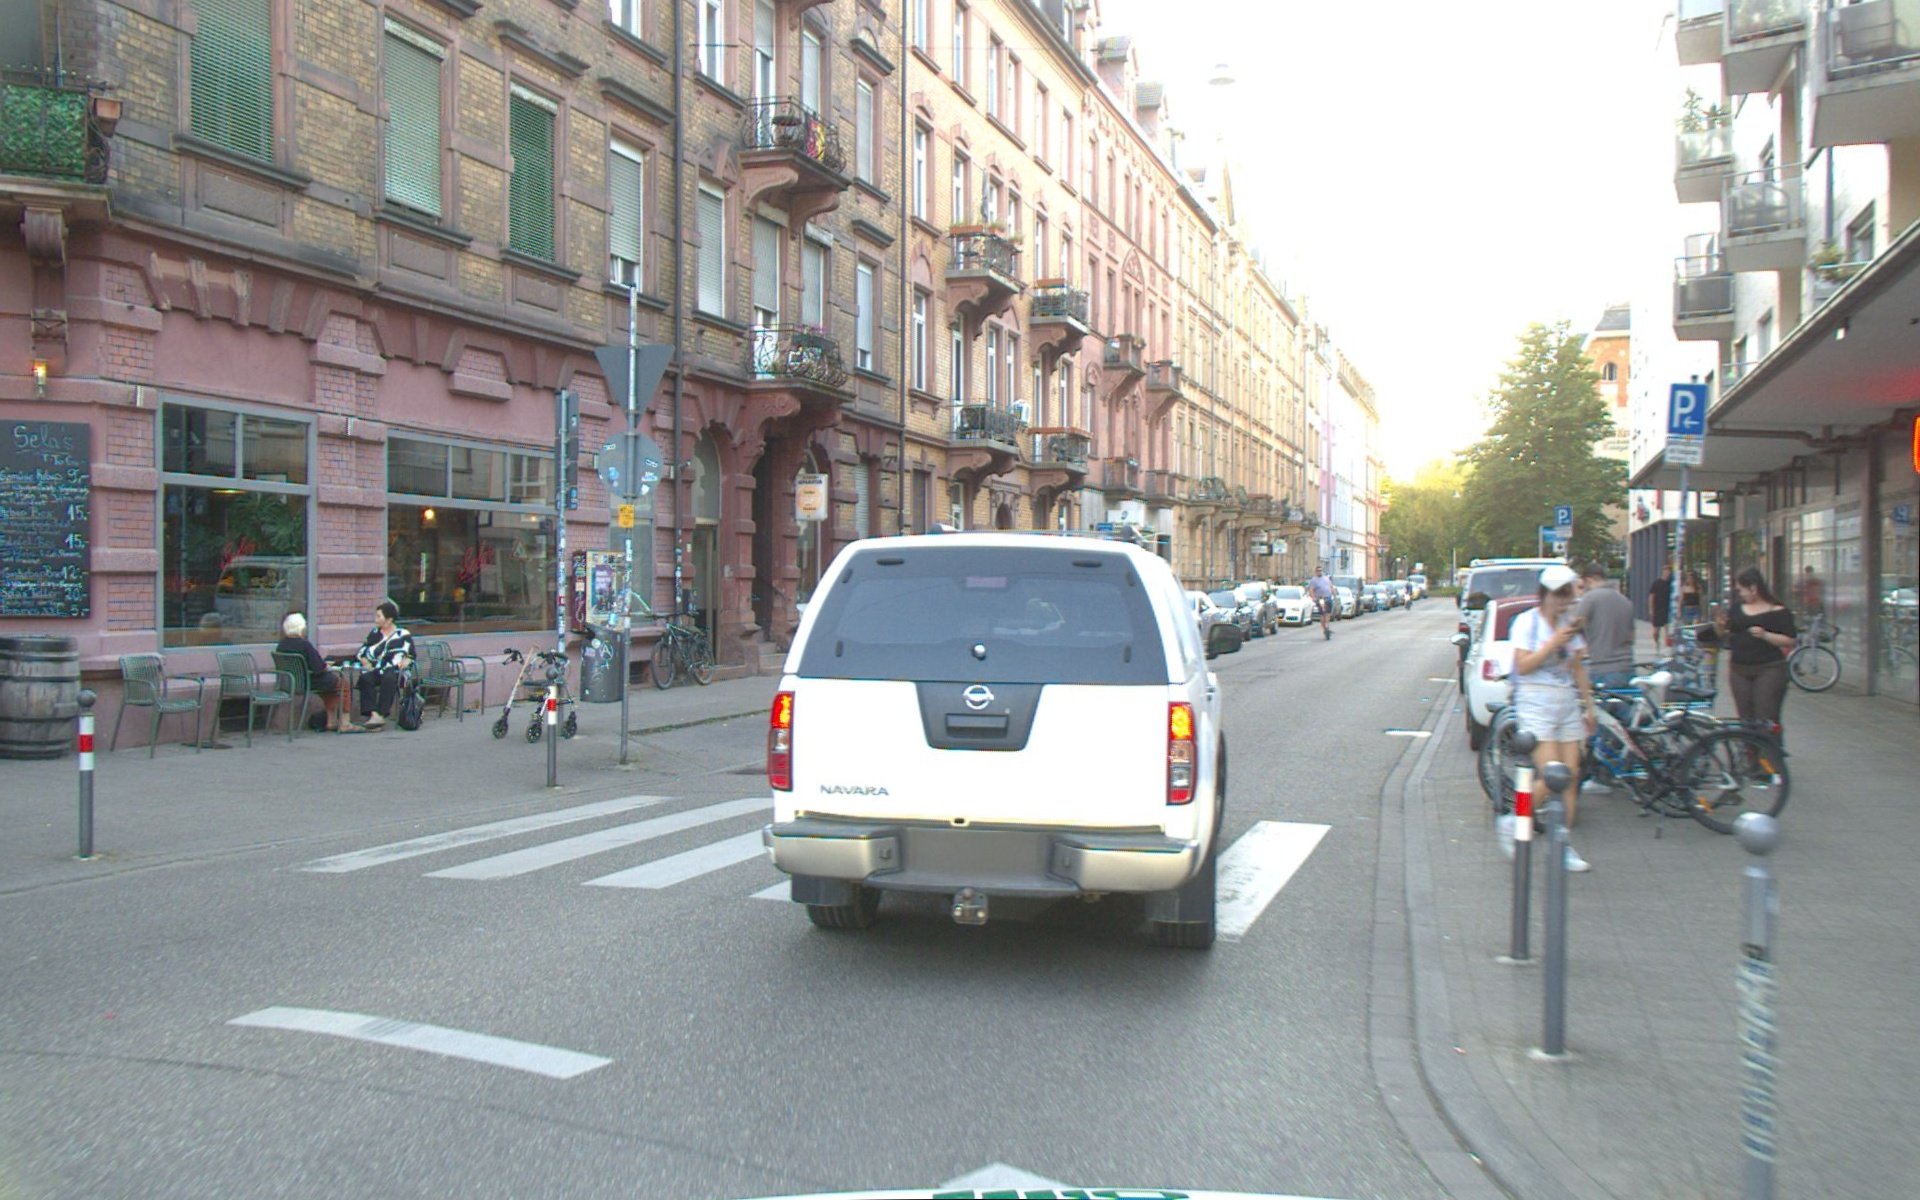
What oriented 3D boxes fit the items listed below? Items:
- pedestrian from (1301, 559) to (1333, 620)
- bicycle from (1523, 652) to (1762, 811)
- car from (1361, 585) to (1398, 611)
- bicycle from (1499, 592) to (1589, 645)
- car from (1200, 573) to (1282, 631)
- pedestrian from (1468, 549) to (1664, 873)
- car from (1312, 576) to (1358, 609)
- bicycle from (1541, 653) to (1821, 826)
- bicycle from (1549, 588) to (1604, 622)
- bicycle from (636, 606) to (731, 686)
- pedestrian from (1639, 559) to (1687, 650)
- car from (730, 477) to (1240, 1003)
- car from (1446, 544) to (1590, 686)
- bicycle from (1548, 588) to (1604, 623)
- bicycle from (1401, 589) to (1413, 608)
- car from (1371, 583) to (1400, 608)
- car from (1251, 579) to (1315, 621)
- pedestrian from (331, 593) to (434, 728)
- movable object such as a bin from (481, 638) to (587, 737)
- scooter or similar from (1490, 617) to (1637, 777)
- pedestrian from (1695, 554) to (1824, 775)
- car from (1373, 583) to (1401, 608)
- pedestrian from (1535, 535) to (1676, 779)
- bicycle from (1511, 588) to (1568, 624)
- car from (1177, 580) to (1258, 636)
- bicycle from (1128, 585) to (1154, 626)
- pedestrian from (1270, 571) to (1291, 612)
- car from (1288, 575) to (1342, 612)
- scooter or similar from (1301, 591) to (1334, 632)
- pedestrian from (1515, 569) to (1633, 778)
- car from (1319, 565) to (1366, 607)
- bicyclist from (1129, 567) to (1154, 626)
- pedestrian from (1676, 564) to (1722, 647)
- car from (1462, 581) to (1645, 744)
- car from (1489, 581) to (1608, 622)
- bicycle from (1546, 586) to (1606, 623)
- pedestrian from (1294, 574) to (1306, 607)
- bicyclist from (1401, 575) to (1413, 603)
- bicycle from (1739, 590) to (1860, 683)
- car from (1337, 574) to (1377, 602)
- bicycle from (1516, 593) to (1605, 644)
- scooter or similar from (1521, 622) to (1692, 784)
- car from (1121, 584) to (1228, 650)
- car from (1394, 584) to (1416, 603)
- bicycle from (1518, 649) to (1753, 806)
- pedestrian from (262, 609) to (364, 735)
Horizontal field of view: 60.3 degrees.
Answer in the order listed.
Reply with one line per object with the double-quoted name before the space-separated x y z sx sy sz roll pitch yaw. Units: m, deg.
"pedestrian" 10.062 -0.305 46.577 0.790 1.689 0.673 -1 0 19
"bicycle" 4.491 0.864 10.961 1.387 1.001 0.511 -2 -1 16
"car" 25.270 -0.128 99.520 1.796 1.483 4.208 3 1 19
"bicycle" 13.313 0.430 37.750 0.649 1.154 1.922 -1 -1 -34
"car" 8.714 0.012 50.980 1.814 1.662 4.448 1 1 18
"pedestrian" 3.352 0.588 9.213 0.649 1.680 0.882 -3 0 -5
"car" 17.494 -0.356 77.025 1.746 1.447 4.488 2 1 17
"bicycle" 4.448 0.859 10.297 1.514 1.019 0.511 -2 -1 16
"bicycle" 20.474 0.177 54.939 1.687 1.072 0.653 -2 -1 22
"bicycle" -3.927 0.633 23.625 0.417 1.071 1.898 1 1 22
"pedestrian" 14.724 0.095 34.633 0.697 1.860 0.857 -2 -1 37
"car" 0.508 0.476 8.722 1.870 1.885 5.275 1 1 10
"car" 8.883 0.194 26.356 1.918 2.008 5.004 -2 0 19
"bicycle" 20.229 0.184 54.313 1.687 1.072 0.653 -2 -1 22
"bicycle" 26.732 -0.123 98.901 0.631 1.100 2.170 -2 0 15
"car" 27.974 -0.297 108.764 1.601 1.592 3.783 1 1 17
"car" 11.891 -0.022 60.637 1.721 1.436 4.511 1 1 18
"pedestrian" -5.862 0.599 16.829 0.634 1.276 0.909 3 2 3
"movable object such as a bin" -4.207 0.853 16.369 0.745 0.932 0.730 1 0 15
"scooter or similar" 4.945 0.770 13.550 1.149 1.191 0.531 -3 2 -32
"pedestrian" 6.247 0.486 12.929 0.558 1.660 0.715 -2 1 -42
"car" 29.544 -0.330 114.279 1.805 1.688 4.256 0 0 16
"pedestrian" 4.893 0.417 12.565 0.722 1.787 0.662 -1 0 -9
"bicycle" 18.954 0.199 54.118 1.687 1.137 0.707 -2 -1 22
"car" 7.157 0.179 45.709 1.552 1.445 3.698 1 1 19
"bicycle" 5.481 0.174 50.102 0.693 1.217 1.742 1 0 3
"pedestrian" 14.195 -0.362 73.263 0.545 1.786 1.018 1 -1 36
"car" 14.982 -0.287 69.711 1.681 1.483 4.001 2 1 20
"scooter or similar" 10.070 0.325 46.581 0.790 1.123 1.172 -1 1 19
"pedestrian" 4.956 0.578 13.370 0.636 1.628 0.588 -1 0 -22
"car" 18.984 -0.712 82.043 1.951 1.957 4.955 2 1 16
"bicyclist" 5.486 -0.112 50.133 0.693 1.760 0.843 1 -1 3
"pedestrian" 15.241 0.116 34.110 0.697 1.695 0.742 -2 -1 36
"car" 6.159 0.589 17.455 1.558 1.527 3.426 -2 0 16
"car" 23.814 0.050 67.057 4.328 1.481 1.781 -2 0 13
"bicycle" 19.872 0.147 53.350 1.686 1.151 0.579 -2 -1 7
"pedestrian" 18.776 -0.527 91.323 0.567 1.802 0.998 3 2 15
"bicyclist" 26.726 -0.630 98.912 0.631 1.649 0.919 -2 0 15
"bicycle" 11.704 0.496 23.121 0.891 1.216 1.712 -2 -1 5
"car" 21.771 -0.663 90.635 1.700 1.443 4.781 2 0 18
"bicycle" 13.941 0.439 38.444 0.649 1.154 1.922 -1 -1 -34
"scooter or similar" 4.972 0.791 12.775 1.135 1.191 0.538 -1 2 12
"car" 5.218 0.359 39.681 1.687 1.445 4.584 1 1 18
"car" 36.469 -0.519 135.581 1.662 1.451 4.025 2 1 16
"bicycle" 4.647 0.862 11.403 1.449 1.019 0.510 -2 -1 26
"pedestrian" -6.207 0.674 15.889 0.493 1.163 0.791 1 -1 20
